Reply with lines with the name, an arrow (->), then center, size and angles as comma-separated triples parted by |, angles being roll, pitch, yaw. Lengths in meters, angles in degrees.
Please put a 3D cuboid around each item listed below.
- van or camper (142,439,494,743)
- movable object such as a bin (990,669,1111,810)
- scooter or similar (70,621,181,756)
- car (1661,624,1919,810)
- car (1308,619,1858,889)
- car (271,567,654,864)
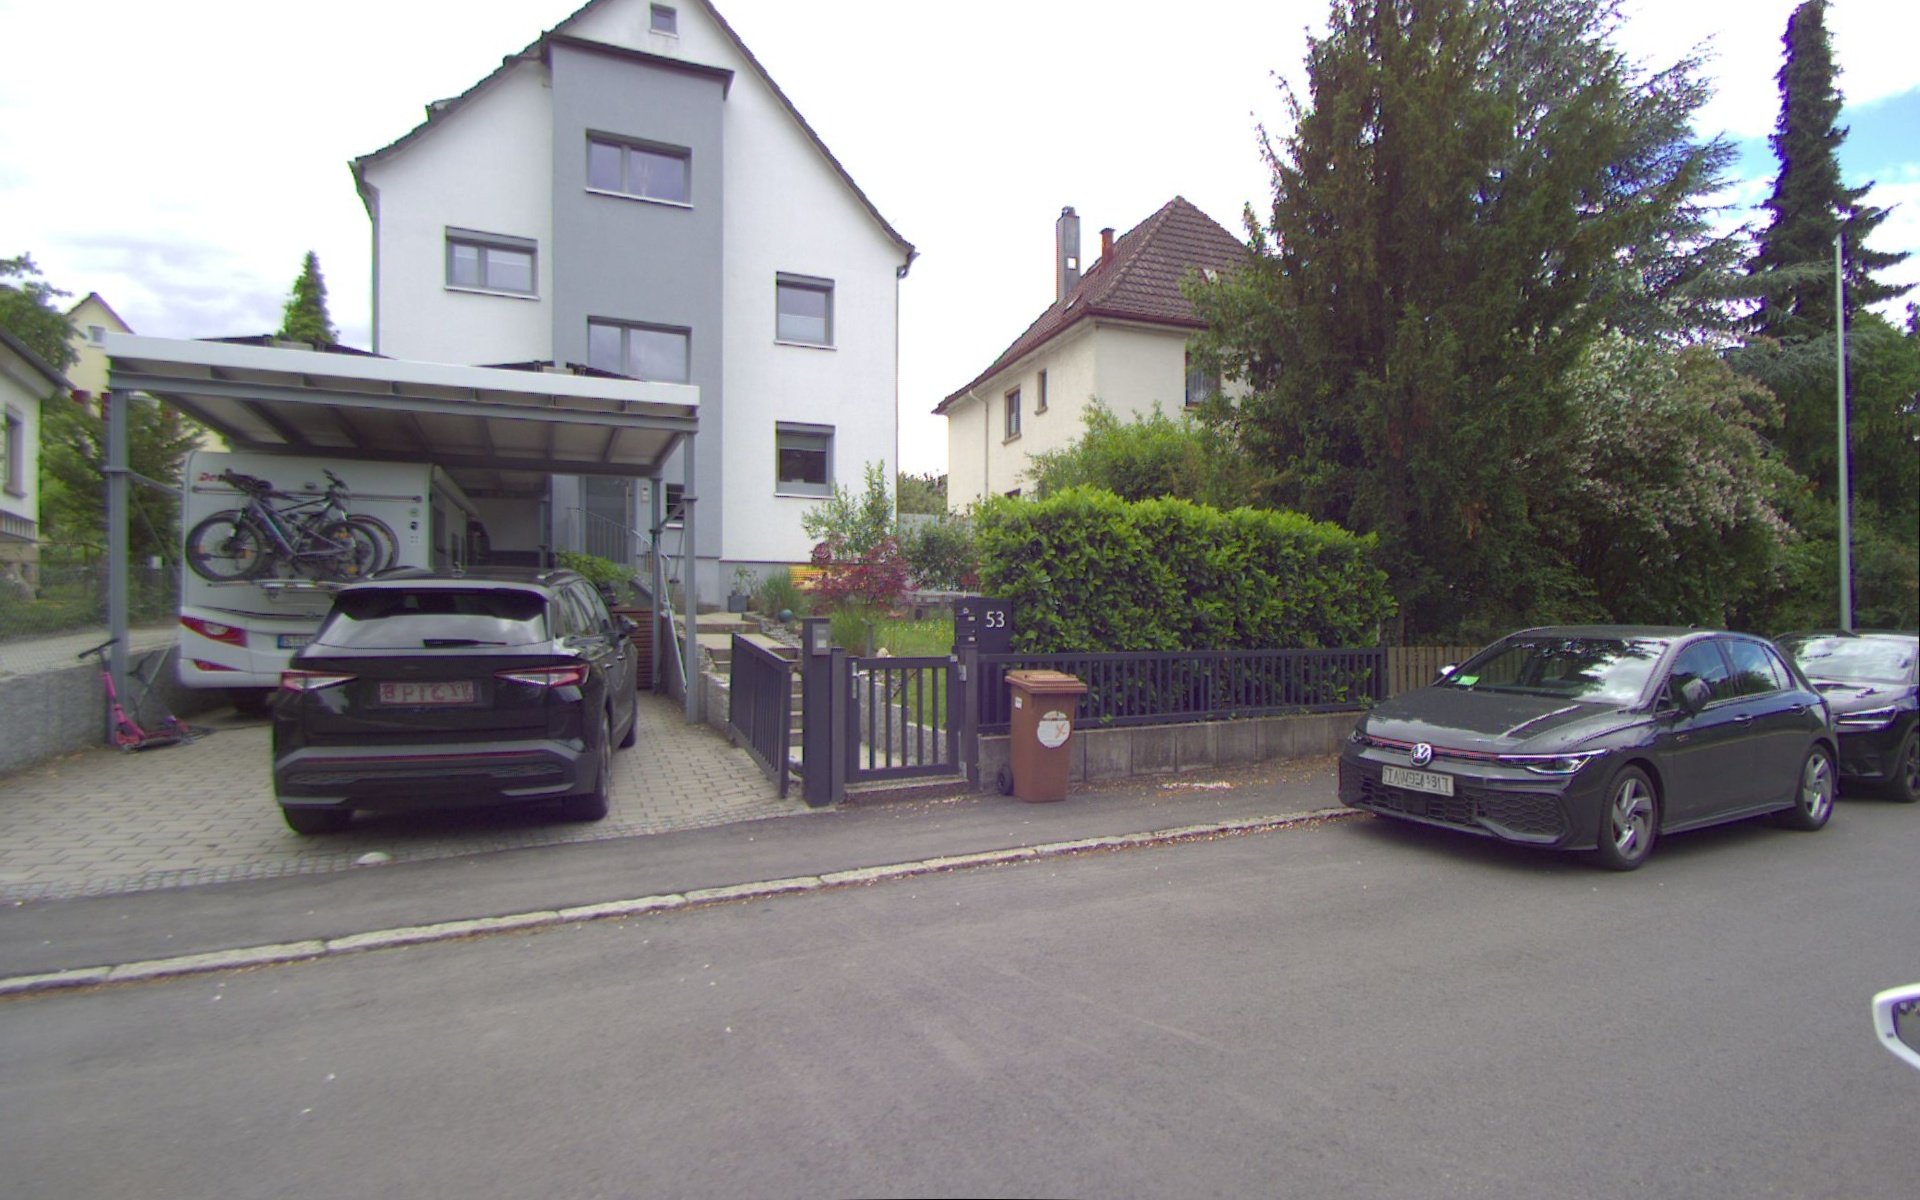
van or camper -> -7.324, -0.122, 12.423 | 2.289, 2.686, 6.668 | 1, 1, -21
movable object such as a bin -> 0.665, 1.003, 7.443 | 0.647, 0.934, 0.627 | 1, -1, -29
scooter or similar -> -7.104, 0.718, 8.594 | 0.251, 1.067, 1.166 | 1, -1, -15
car -> 8.748, 0.981, 9.733 | 4.085, 1.435, 1.698 | 1, 0, -31
car -> 4.584, 0.888, 7.250 | 4.102, 1.435, 1.698 | 1, 0, -31
car -> -3.286, 0.596, 7.468 | 1.811, 1.568, 3.986 | 1, 1, -16
